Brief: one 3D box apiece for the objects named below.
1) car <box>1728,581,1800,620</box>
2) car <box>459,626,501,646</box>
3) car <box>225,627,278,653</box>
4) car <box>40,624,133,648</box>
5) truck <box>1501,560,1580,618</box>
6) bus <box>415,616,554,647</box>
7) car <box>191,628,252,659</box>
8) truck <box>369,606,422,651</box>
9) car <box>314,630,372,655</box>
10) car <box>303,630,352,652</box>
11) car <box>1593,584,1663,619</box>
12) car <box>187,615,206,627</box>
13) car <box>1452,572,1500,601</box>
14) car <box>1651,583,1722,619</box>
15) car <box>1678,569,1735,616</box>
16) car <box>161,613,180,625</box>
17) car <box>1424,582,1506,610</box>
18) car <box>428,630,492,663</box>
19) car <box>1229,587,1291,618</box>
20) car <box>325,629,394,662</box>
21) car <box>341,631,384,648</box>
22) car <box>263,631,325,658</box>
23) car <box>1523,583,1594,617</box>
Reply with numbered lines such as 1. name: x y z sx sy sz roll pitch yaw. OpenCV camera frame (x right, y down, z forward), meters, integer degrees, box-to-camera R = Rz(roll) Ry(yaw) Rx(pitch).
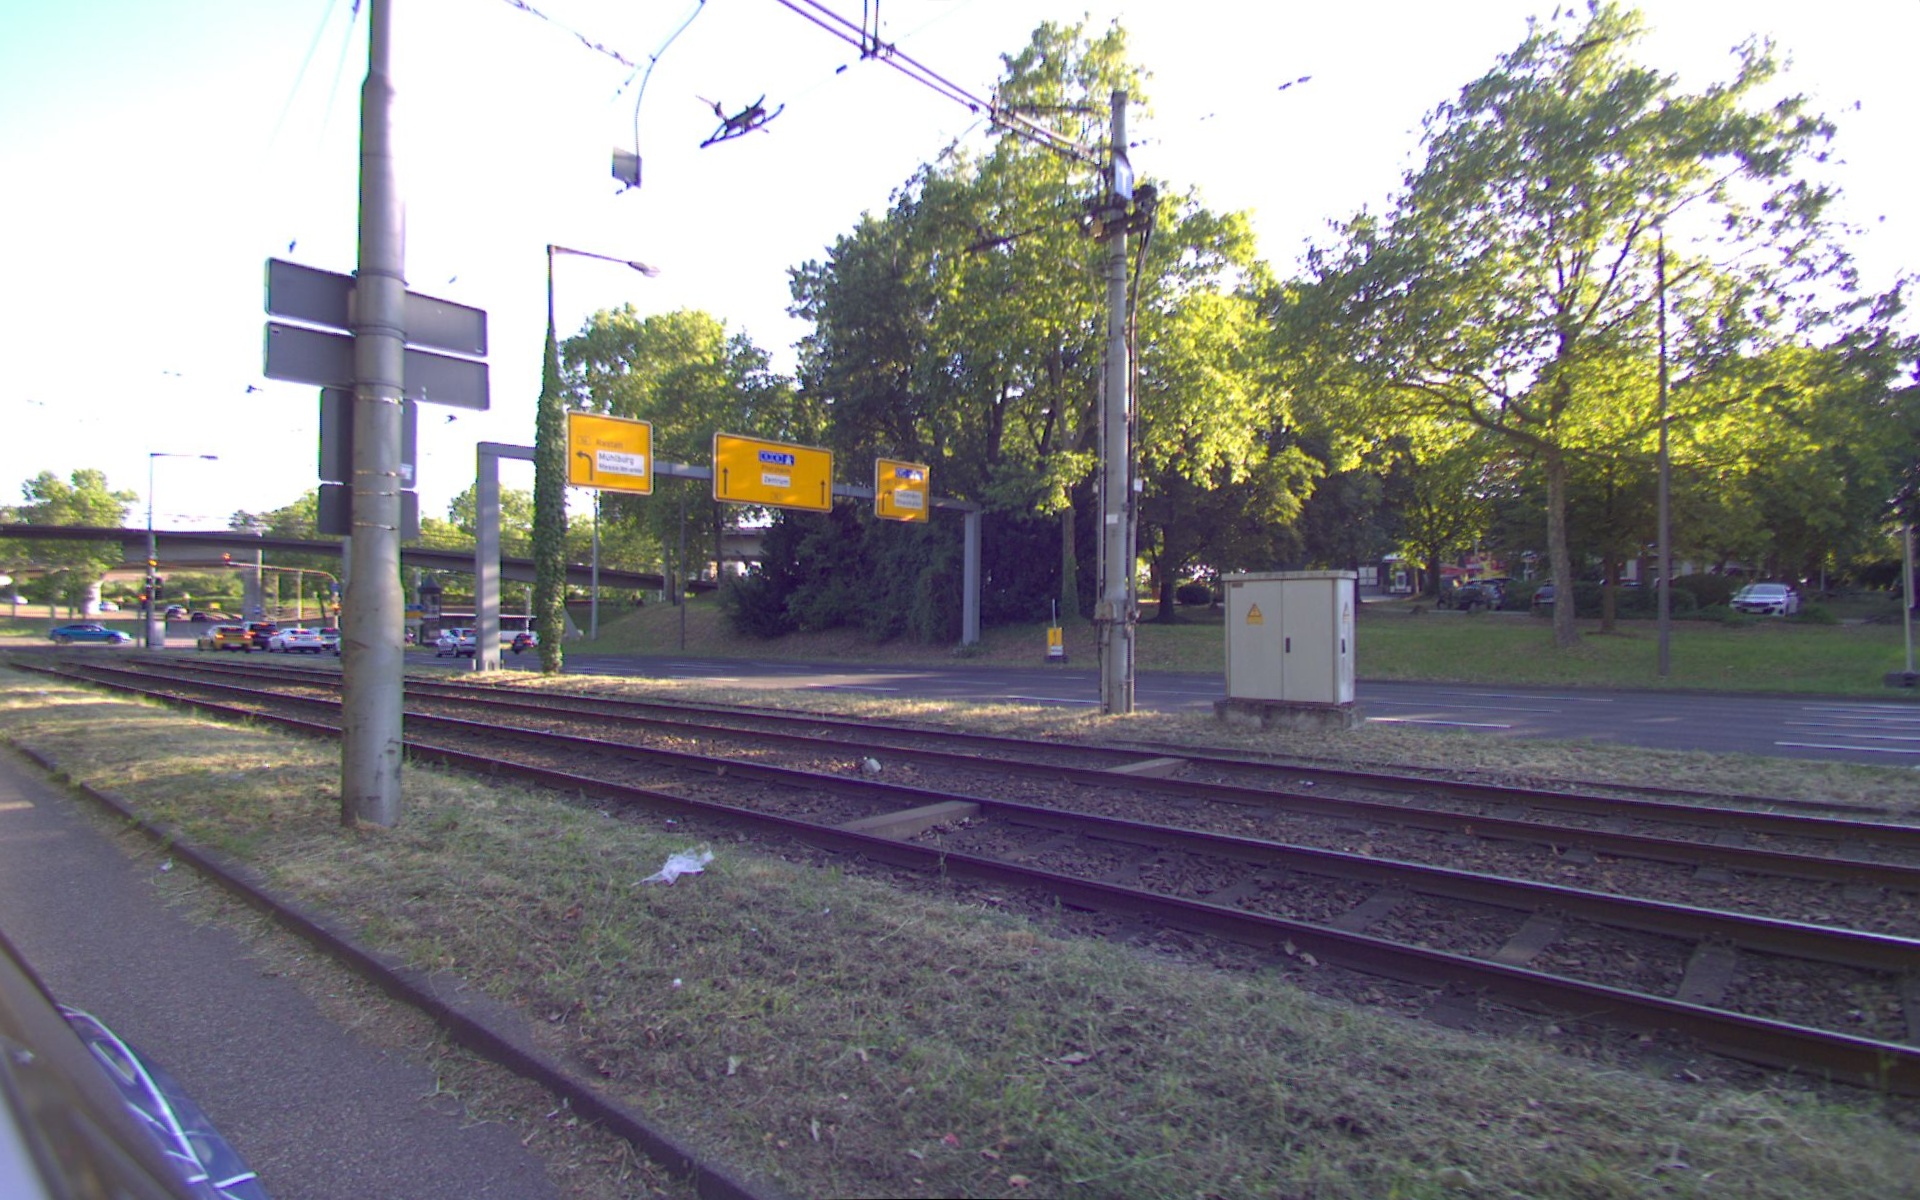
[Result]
1. car: 33.500 0.010 42.125 1.942 1.521 4.039 -1 0 44
2. car: -48.138 3.616 101.492 3.748 1.872 1.682 -1 0 -30
3. car: -43.673 2.449 62.353 4.228 1.561 1.892 -2 -2 44
4. car: -61.880 2.531 71.789 4.727 1.584 1.944 -1 -1 -33
5. truck: 33.625 -0.636 58.568 2.502 3.191 6.137 -1 0 44
6. bus: -49.605 3.215 105.931 12.965 2.884 2.425 -1 -1 -25
7. car: -38.896 2.282 53.280 3.997 1.556 1.744 -2 -2 40
8. truck: -38.448 1.942 68.796 2.248 2.901 6.895 0 -1 -37
9. car: -38.090 2.612 62.432 4.223 1.435 1.845 -2 -1 40
10. car: -42.160 2.703 67.429 1.891 1.435 4.229 0 -2 -45
11. car: 30.351 0.039 45.927 1.942 1.521 4.039 -1 0 44
12. car: -105.833 2.858 140.269 1.806 1.630 3.986 -1 0 -43
13. car: 35.402 -0.915 69.352 2.289 1.864 5.214 -1 1 34
14. car: 31.966 0.023 44.495 1.942 1.521 4.039 -1 0 44
15. car: 38.788 -0.372 52.540 2.161 2.320 4.348 -1 0 39
16. car: -116.064 2.768 148.722 1.806 1.630 3.986 -1 0 -43
17. car: 27.576 -0.237 55.328 3.725 1.474 1.651 0 1 44
18. car: -25.009 2.309 50.604 1.787 1.556 4.004 0 -2 -43
19. car: 17.281 0.141 58.182 1.791 1.657 3.942 -2 -1 44
20. car: -29.868 2.236 50.305 3.997 1.556 1.744 -2 -2 40
21. car: -59.767 3.923 101.283 3.592 1.523 1.668 -1 0 -28
22. car: -37.655 2.478 57.188 4.225 1.435 1.893 -2 -2 42
23. car: 28.091 -0.013 47.448 1.942 1.521 4.039 -1 0 44
